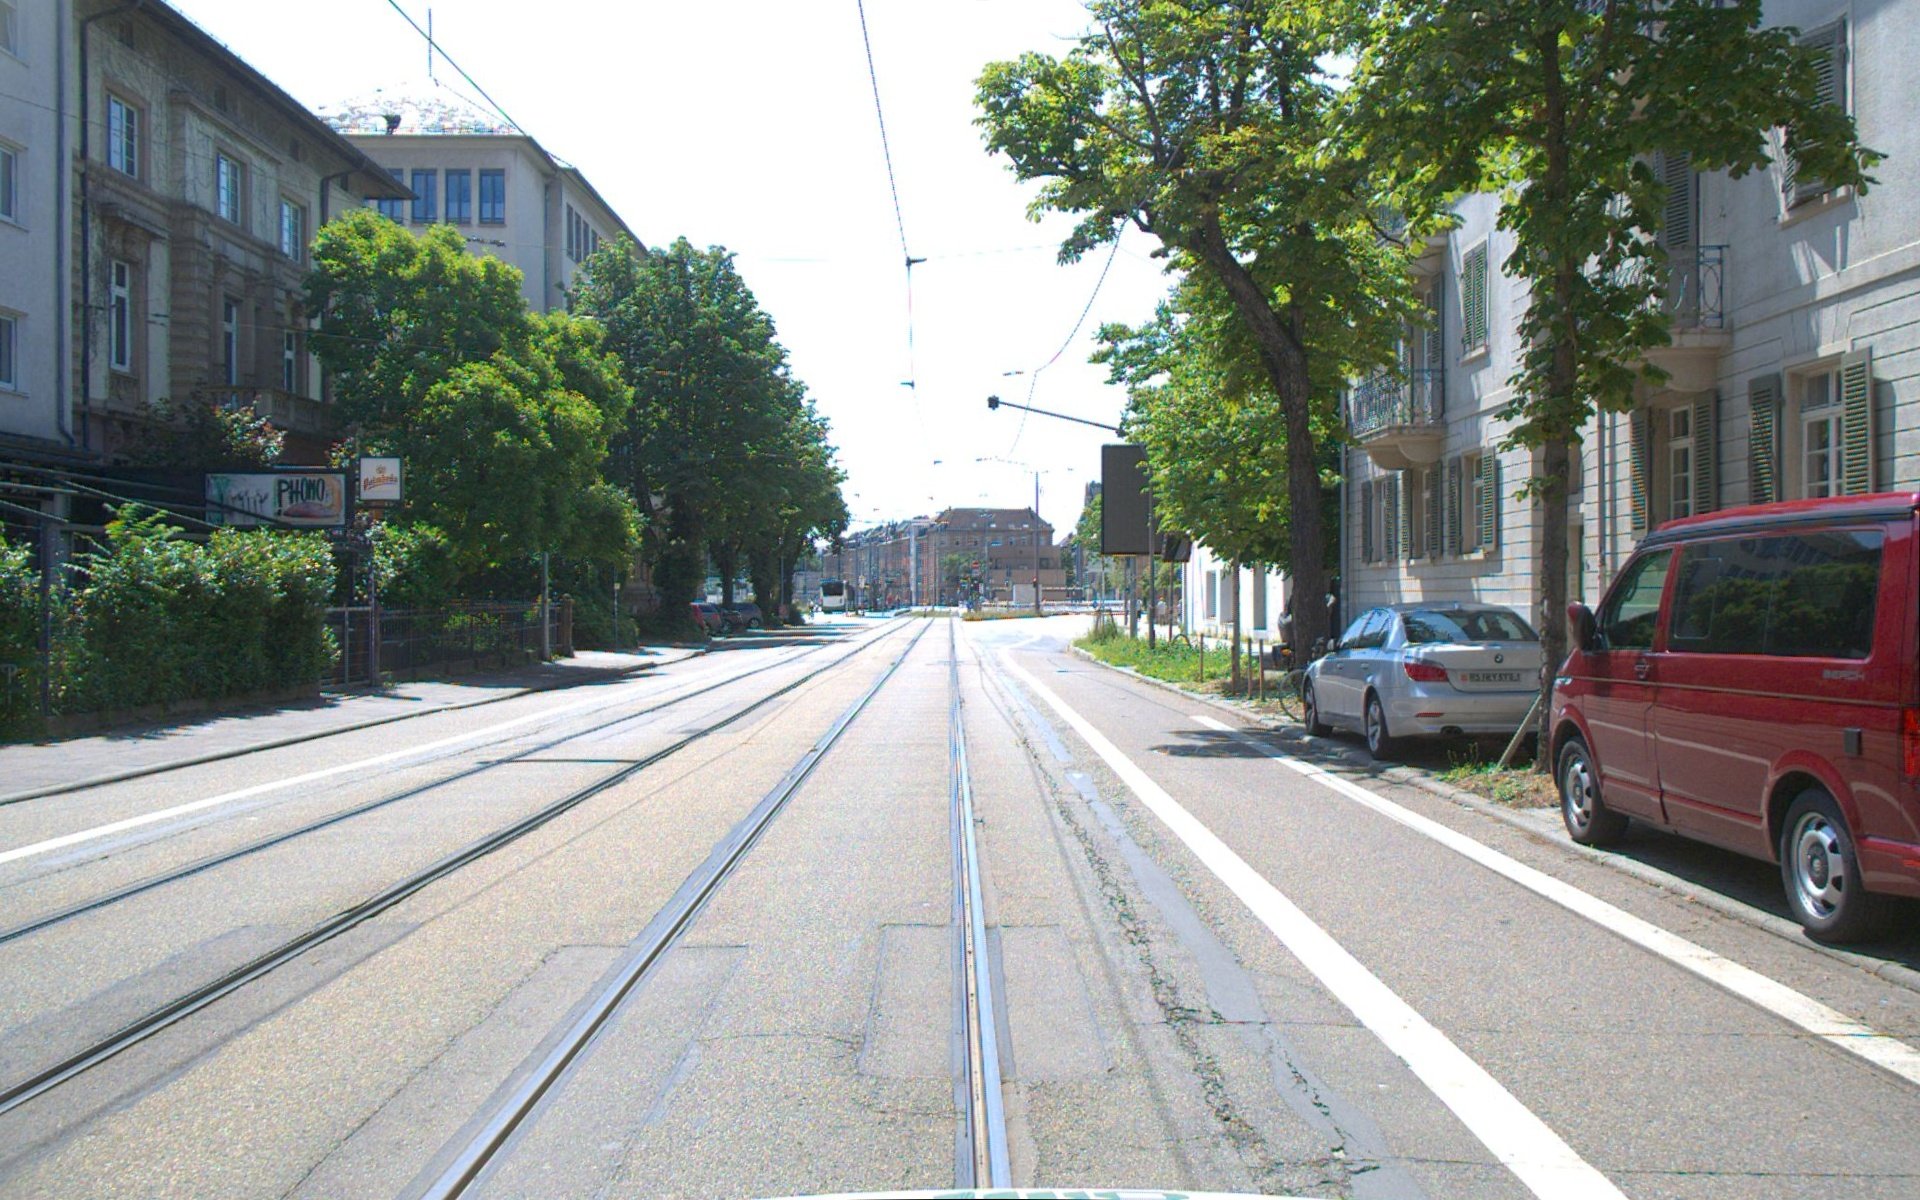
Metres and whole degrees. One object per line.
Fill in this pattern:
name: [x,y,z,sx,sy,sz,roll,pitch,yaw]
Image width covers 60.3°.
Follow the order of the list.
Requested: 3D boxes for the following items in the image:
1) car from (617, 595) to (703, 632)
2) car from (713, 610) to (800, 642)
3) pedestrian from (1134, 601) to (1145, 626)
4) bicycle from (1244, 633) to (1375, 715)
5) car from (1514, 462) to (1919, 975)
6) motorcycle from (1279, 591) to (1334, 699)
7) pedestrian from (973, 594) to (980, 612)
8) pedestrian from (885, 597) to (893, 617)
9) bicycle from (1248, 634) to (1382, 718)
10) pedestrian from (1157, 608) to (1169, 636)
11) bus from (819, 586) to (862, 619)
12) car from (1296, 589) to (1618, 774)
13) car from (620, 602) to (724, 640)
car: [-12.730,0.564,70.266,3.301,1.542,1.655,0,0,-26]
car: [-9.855,1.240,80.204,3.873,1.398,1.655,-1,0,-26]
pedestrian: [13.362,1.014,123.269,0.797,1.839,0.700,-1,0,4]
bicycle: [4.535,0.961,21.509,1.624,1.033,0.371,0,1,0]
car: [4.744,0.474,8.965,1.821,2.049,4.975,0,0,0]
motorcycle: [5.154,0.632,24.721,0.729,1.532,2.561,-1,0,11]
pedestrian: [1.529,0.281,155.651,0.517,1.704,0.751,0,-1,-8]
pedestrian: [-6.839,0.700,159.533,0.660,1.943,0.639,-1,0,-10]
bicycle: [4.493,0.959,20.965,1.624,1.033,0.371,0,0,0]
pedestrian: [11.968,1.301,97.621,0.646,1.676,0.625,-1,0,5]
bus: [-12.161,0.214,169.774,2.948,3.213,17.497,0,0,0]
car: [4.822,0.732,16.842,1.821,1.605,4.877,0,-1,0]
car: [-12.759,0.945,73.257,4.262,1.612,1.653,1,-1,-30]
